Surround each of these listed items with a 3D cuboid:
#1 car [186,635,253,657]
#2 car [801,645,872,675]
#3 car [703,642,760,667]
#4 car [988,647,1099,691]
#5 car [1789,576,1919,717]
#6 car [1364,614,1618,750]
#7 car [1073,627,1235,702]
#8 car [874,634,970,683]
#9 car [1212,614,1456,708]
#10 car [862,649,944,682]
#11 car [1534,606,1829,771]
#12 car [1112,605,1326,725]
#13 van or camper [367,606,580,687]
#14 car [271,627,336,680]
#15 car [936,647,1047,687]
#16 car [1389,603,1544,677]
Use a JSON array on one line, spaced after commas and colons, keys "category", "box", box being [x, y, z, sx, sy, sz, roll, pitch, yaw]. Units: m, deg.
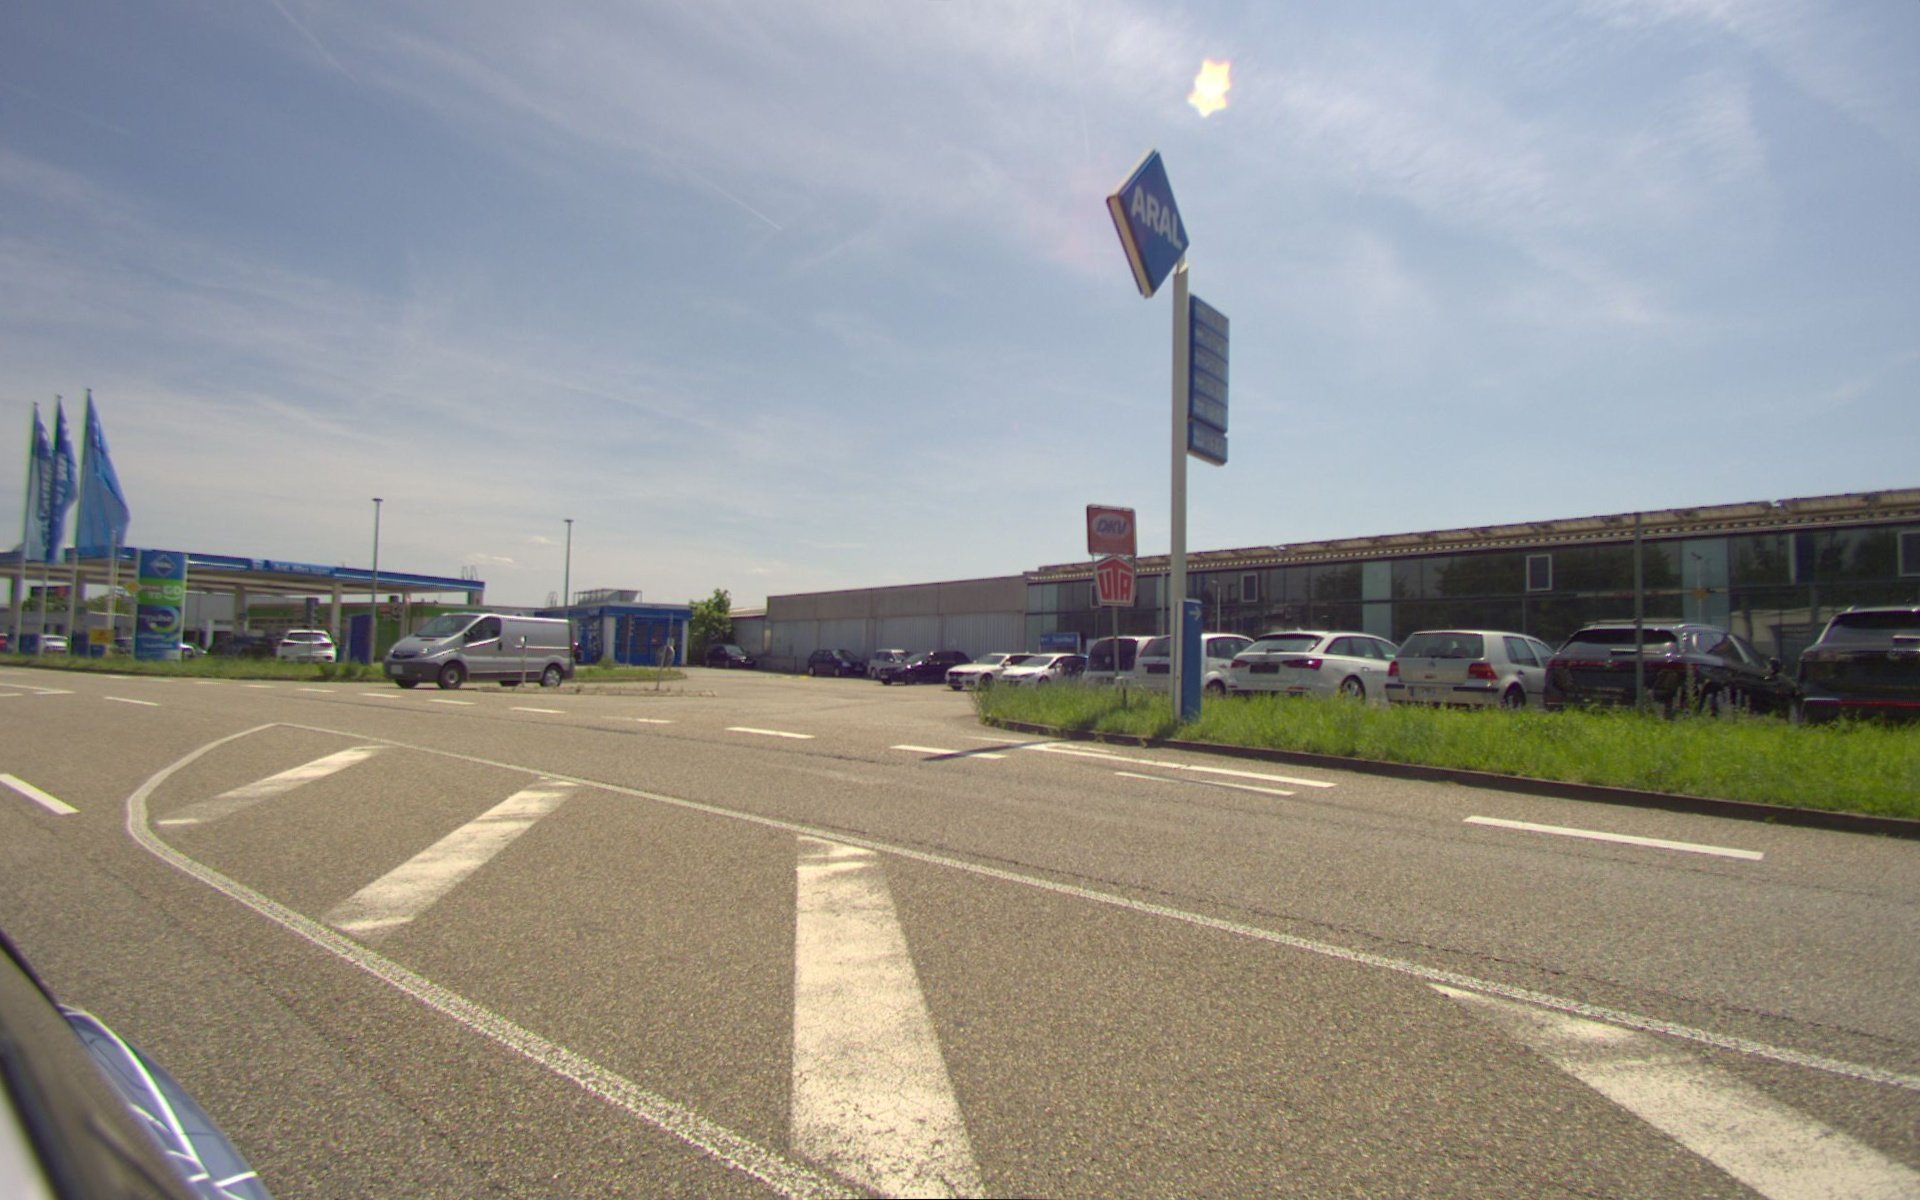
[{"category": "car", "box": [-52.040, 3.230, 71.085, 4.360, 1.389, 1.982, 0, -4, 27]}, {"category": "car", "box": [-6.456, 3.097, 52.615, 1.733, 1.453, 3.904, 2, -3, -42]}, {"category": "car", "box": [-13.985, 3.323, 61.932, 1.733, 1.453, 3.904, 2, -3, -42]}, {"category": "car", "box": [3.062, 2.500, 36.937, 3.807, 1.508, 1.847, 4, -4, -39]}, {"category": "car", "box": [10.724, 0.537, 10.861, 3.935, 1.342, 2.004, 3, -4, -38]}, {"category": "car", "box": [8.032, 1.125, 15.192, 3.935, 1.763, 1.938, 2, -1, -38]}, {"category": "car", "box": [4.115, 1.349, 21.250, 3.400, 1.452, 1.566, 4, -4, -41]}, {"category": "car", "box": [-1.615, 2.472, 43.368, 3.936, 2.029, 1.601, 2, -3, -39]}, {"category": "car", "box": [6.305, 0.968, 16.889, 4.183, 1.369, 2.003, 2, -3, -40]}, {"category": "car", "box": [-2.697, 3.022, 47.295, 1.887, 1.439, 4.112, 3, -4, -36]}, {"category": "car", "box": [9.180, 0.992, 12.790, 3.935, 1.763, 2.004, 2, -1, -38]}, {"category": "car", "box": [4.953, 1.220, 19.132, 3.936, 2.029, 2.003, 4, -4, -40]}, {"category": "van or camper", "box": [-12.533, 1.283, 26.471, 1.895, 1.919, 4.819, 0, -5, 27]}, {"category": "car", "box": [-23.993, 1.911, 36.982, 1.837, 1.725, 4.531, 2, -1, -33]}, {"category": "car", "box": [1.238, 2.590, 39.084, 3.937, 1.453, 2.003, 4, -4, -40]}, {"category": "car", "box": [11.997, 0.926, 23.877, 3.936, 1.594, 1.821, 2, -2, -39]}]
